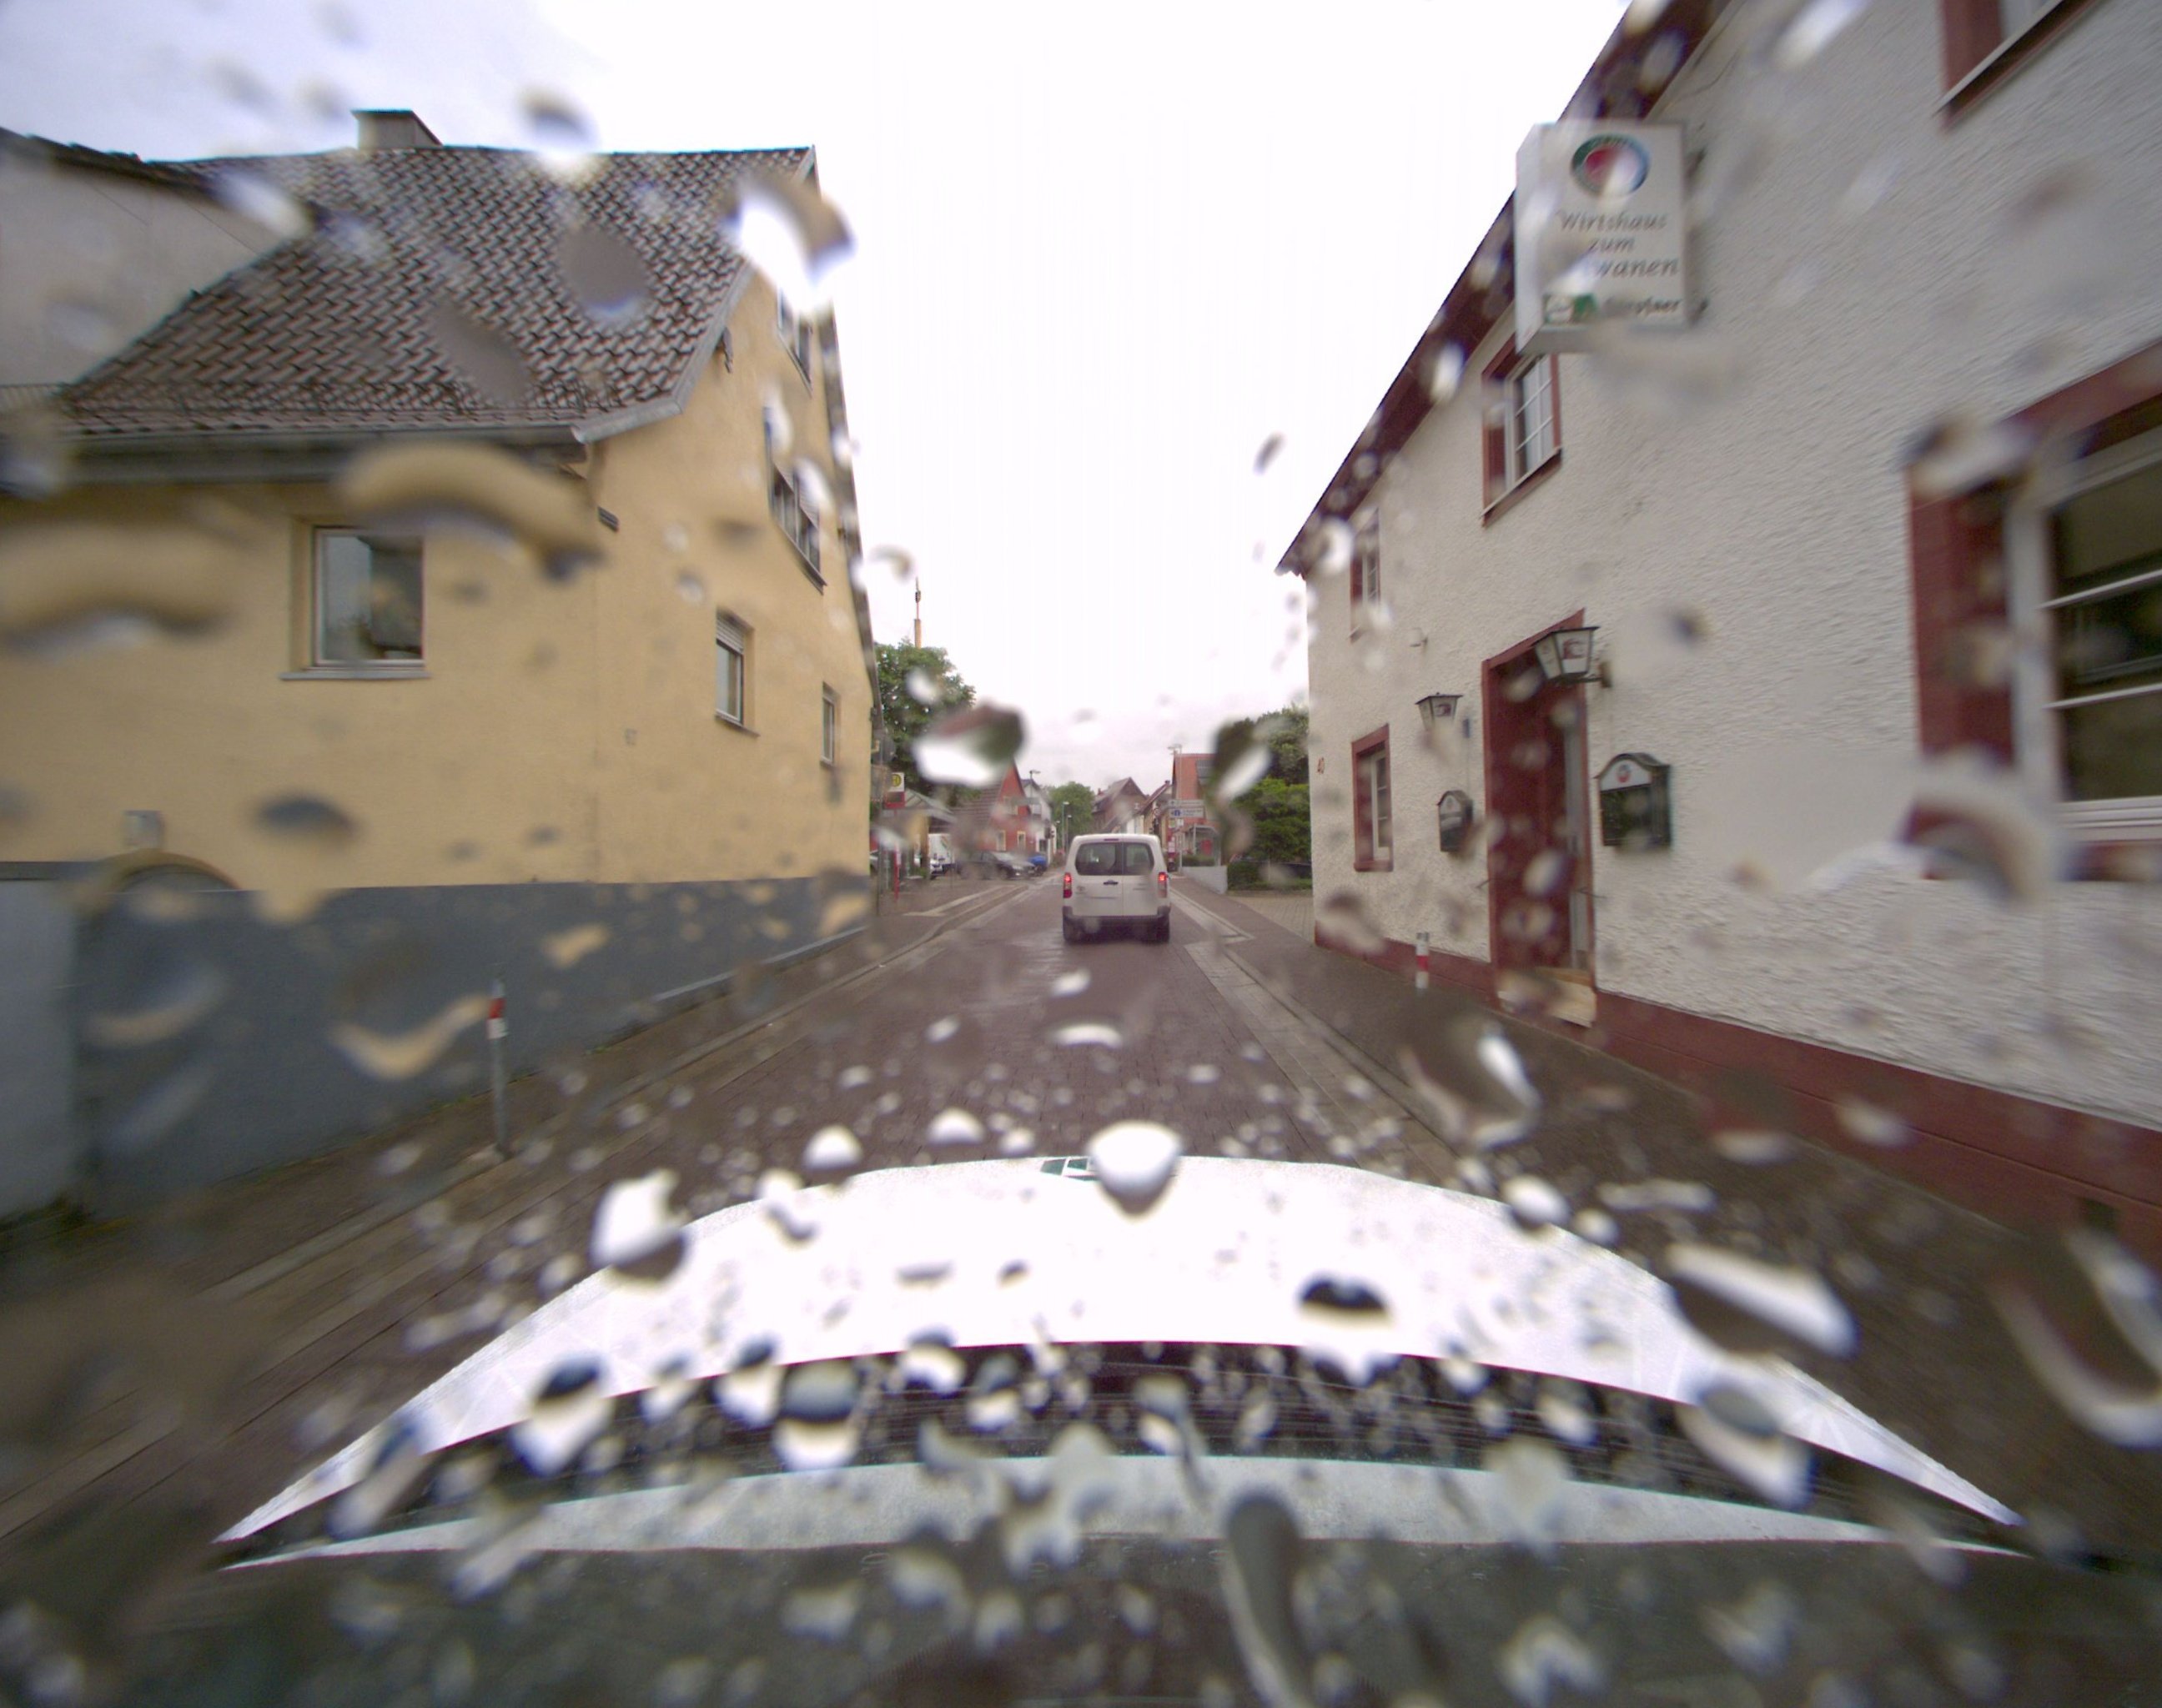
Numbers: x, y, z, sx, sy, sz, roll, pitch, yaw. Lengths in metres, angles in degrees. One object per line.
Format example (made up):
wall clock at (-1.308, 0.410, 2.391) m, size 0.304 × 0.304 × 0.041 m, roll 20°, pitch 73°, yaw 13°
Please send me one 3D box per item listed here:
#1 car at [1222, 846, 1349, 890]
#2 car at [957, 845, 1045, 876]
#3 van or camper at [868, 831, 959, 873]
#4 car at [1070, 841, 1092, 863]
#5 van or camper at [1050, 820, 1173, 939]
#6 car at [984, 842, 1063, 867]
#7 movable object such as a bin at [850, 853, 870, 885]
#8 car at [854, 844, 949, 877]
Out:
car at (7.175, 0.478, 28.573) m, size 4.195 × 1.480 × 1.702 m, roll -1°, pitch 0°, yaw 16°
car at (-4.086, 0.331, 41.353) m, size 4.258 × 1.477 × 1.862 m, roll -1°, pitch 1°, yaw 36°
van or camper at (-10.202, -0.144, 49.687) m, size 5.094 × 2.435 × 2.225 m, roll -1°, pitch 1°, yaw 27°
car at (-0.005, -0.176, 69.324) m, size 1.806 × 1.779 × 4.017 m, roll -1°, pitch 1°, yaw 0°
van or camper at (0.511, 0.384, 14.982) m, size 1.937 × 1.851 × 4.001 m, roll 1°, pitch 1°, yaw 1°
car at (-3.322, 0.013, 47.274) m, size 4.017 × 1.373 × 2.087 m, roll -1°, pitch -1°, yaw -36°
movable object such as a bin at (-8.036, 0.533, 29.669) m, size 0.560 × 1.146 × 0.604 m, roll -1°, pitch -2°, yaw -1°
car at (-9.166, 0.310, 41.602) m, size 4.407 × 1.549 × 1.893 m, roll 1°, pitch 2°, yaw 22°
